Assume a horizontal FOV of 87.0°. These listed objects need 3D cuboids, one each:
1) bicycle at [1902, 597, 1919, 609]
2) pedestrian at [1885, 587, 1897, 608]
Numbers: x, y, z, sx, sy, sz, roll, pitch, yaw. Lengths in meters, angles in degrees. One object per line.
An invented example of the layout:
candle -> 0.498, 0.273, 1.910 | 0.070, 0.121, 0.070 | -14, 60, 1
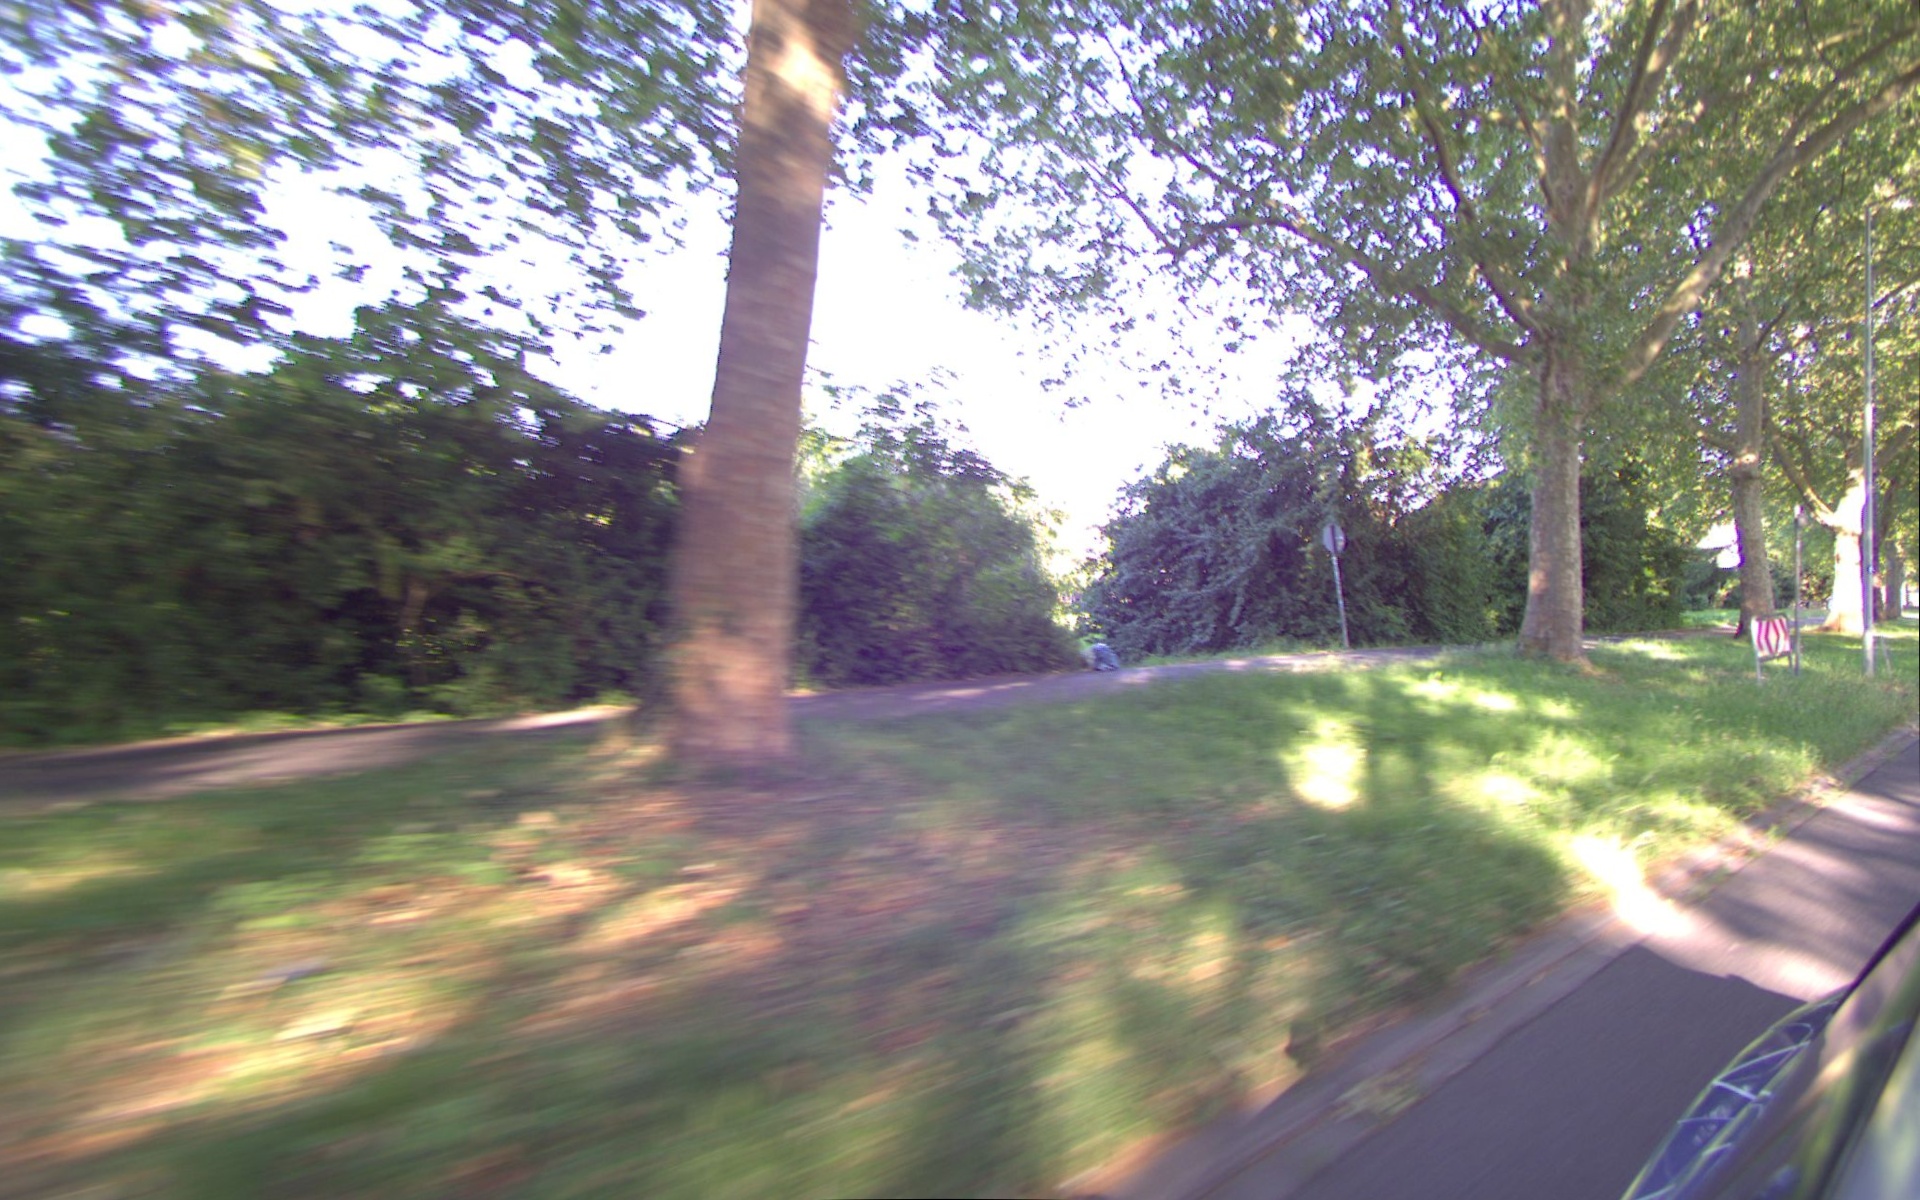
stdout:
bicycle -> 94.054, 0.298, 99.763 | 0.437, 1.048, 1.724 | 3, 0, -12
pedestrian -> 86.094, -0.215, 93.580 | 0.774, 1.869, 0.762 | 1, 1, -44
